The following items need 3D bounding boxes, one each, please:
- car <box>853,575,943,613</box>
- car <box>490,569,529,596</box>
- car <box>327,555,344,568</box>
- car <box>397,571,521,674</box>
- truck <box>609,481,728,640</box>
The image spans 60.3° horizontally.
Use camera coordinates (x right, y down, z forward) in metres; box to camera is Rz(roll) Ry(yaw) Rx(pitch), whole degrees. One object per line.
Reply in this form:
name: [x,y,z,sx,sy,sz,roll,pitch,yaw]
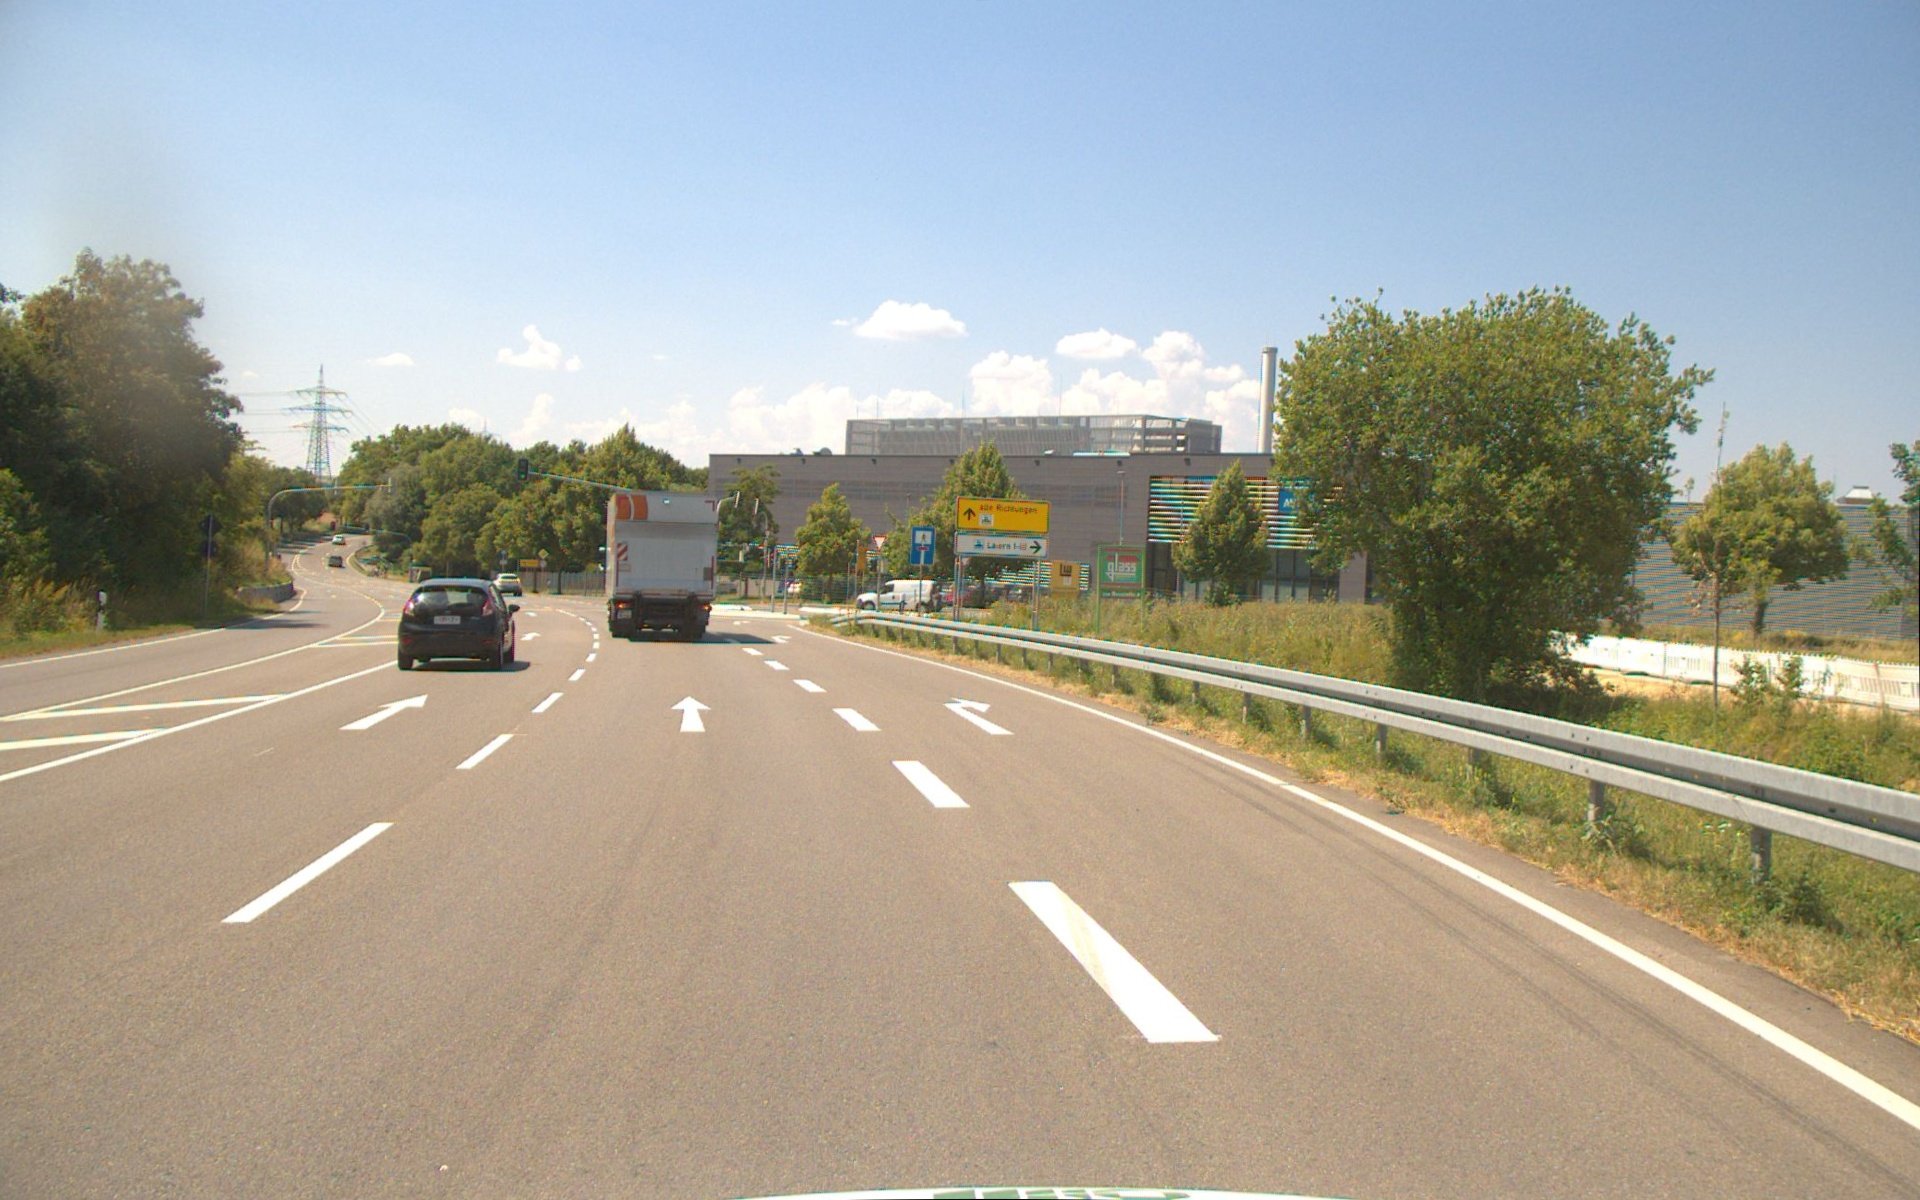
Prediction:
car: [-3.482,-0.337,93.185,4.644,1.966,2.155,1,0,10]
car: [-31.306,-1.225,114.912,1.919,1.693,3.969,4,0,-25]
car: [-87.052,-5.357,230.692,1.963,1.713,3.980,1,0,-18]
car: [-8.576,0.331,28.588,1.624,1.519,4.196,2,2,-12]
truck: [-7.968,-1.058,44.656,2.754,3.775,9.083,2,1,-12]
